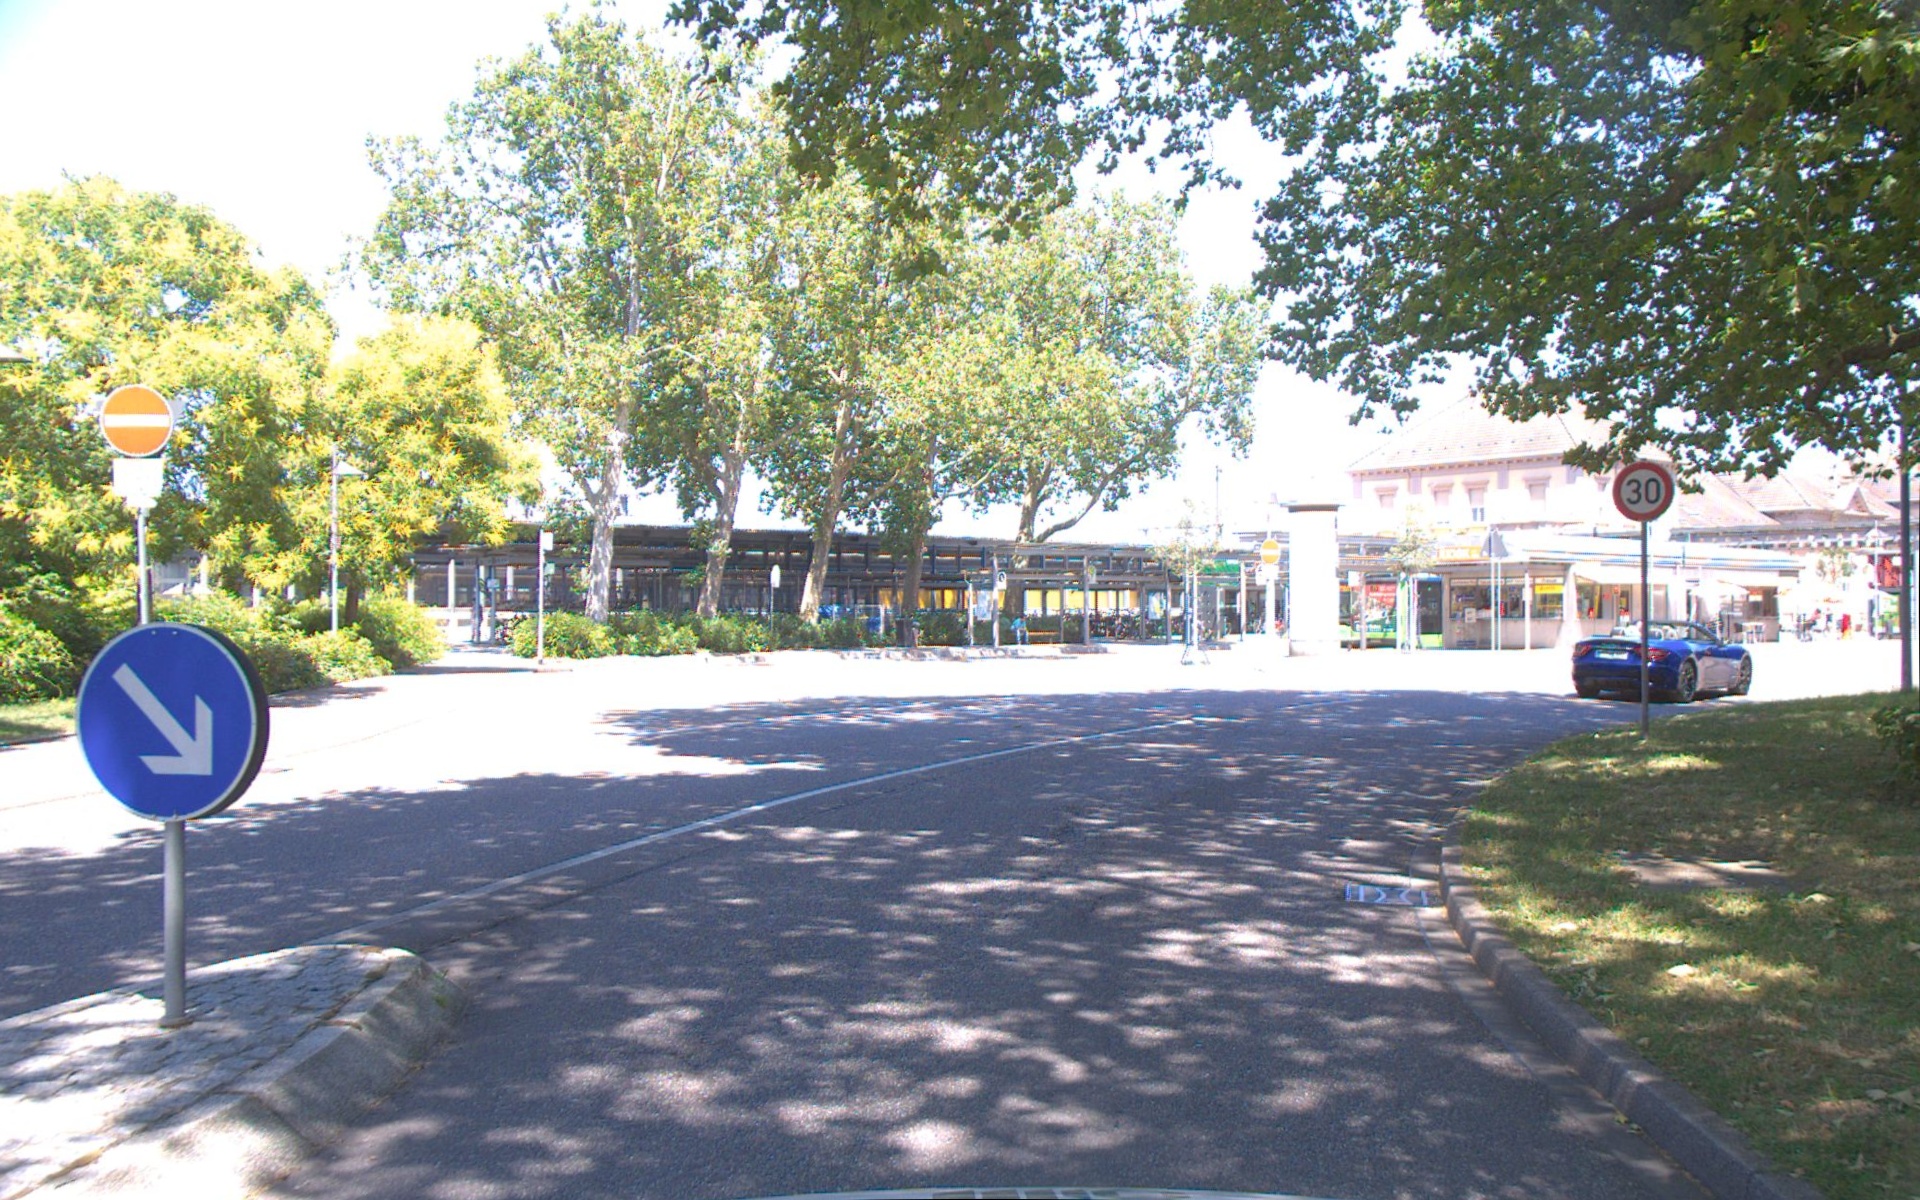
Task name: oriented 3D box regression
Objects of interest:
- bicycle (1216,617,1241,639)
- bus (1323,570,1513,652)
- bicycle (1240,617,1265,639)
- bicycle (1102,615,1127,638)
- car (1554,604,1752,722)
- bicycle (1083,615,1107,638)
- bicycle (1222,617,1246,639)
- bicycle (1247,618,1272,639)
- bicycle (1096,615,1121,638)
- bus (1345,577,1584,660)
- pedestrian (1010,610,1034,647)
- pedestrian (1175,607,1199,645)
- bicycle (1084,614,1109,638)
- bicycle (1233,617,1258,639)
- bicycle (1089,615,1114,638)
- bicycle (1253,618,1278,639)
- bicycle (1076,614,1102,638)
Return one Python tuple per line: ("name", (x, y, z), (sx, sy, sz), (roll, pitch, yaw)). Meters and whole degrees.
("bicycle", (14.054, 1.471, 86.622), (0.382, 1.113, 1.367), (0, -1, -37))
("bus", (21.433, 0.484, 76.791), (12.109, 3.588, 2.137), (0, 0, -41))
("bicycle", (15.154, 1.463, 85.702), (0.382, 1.113, 1.367), (0, -1, -38))
("bicycle", (7.549, 1.312, 80.976), (0.382, 1.113, 1.367), (2, -3, -38))
("car", (12.159, 1.033, 28.889), (2.093, 1.881, 4.026), (0, -1, 40))
("bicycle", (6.684, 1.335, 82.094), (0.382, 1.113, 1.367), (2, -3, -38))
("bicycle", (14.387, 1.476, 86.890), (0.382, 1.113, 1.367), (0, -1, -37))
("bicycle", (15.608, 1.475, 86.092), (0.382, 1.113, 1.367), (0, -1, -38))
("bicycle", (7.236, 1.298, 80.709), (0.382, 1.113, 1.367), (2, -3, -38))
("bus", (20.725, 0.774, 67.085), (13.772, 3.094, 2.642), (1, -1, -42))
("pedestrian", (2.505, 1.157, 66.890), (0.815, 1.489, 0.597), (0, -1, -43))
("pedestrian", (10.062, 1.152, 73.373), (0.804, 1.645, 0.767), (0, 0, 31))
("bicycle", (6.608, 1.270, 80.161), (0.382, 1.113, 1.366), (3, -3, -39))
("bicycle", (14.749, 1.464, 85.358), (0.363, 1.119, 1.386), (0, -1, -38))
("bicycle", (6.903, 1.285, 80.479), (0.382, 1.113, 1.366), (2, -3, -38))
("bicycle", (15.957, 1.476, 86.363), (0.382, 1.113, 1.367), (0, -1, -38))
("bicycle", (6.224, 1.254, 79.851), (0.382, 1.113, 1.367), (2, -3, -38))
